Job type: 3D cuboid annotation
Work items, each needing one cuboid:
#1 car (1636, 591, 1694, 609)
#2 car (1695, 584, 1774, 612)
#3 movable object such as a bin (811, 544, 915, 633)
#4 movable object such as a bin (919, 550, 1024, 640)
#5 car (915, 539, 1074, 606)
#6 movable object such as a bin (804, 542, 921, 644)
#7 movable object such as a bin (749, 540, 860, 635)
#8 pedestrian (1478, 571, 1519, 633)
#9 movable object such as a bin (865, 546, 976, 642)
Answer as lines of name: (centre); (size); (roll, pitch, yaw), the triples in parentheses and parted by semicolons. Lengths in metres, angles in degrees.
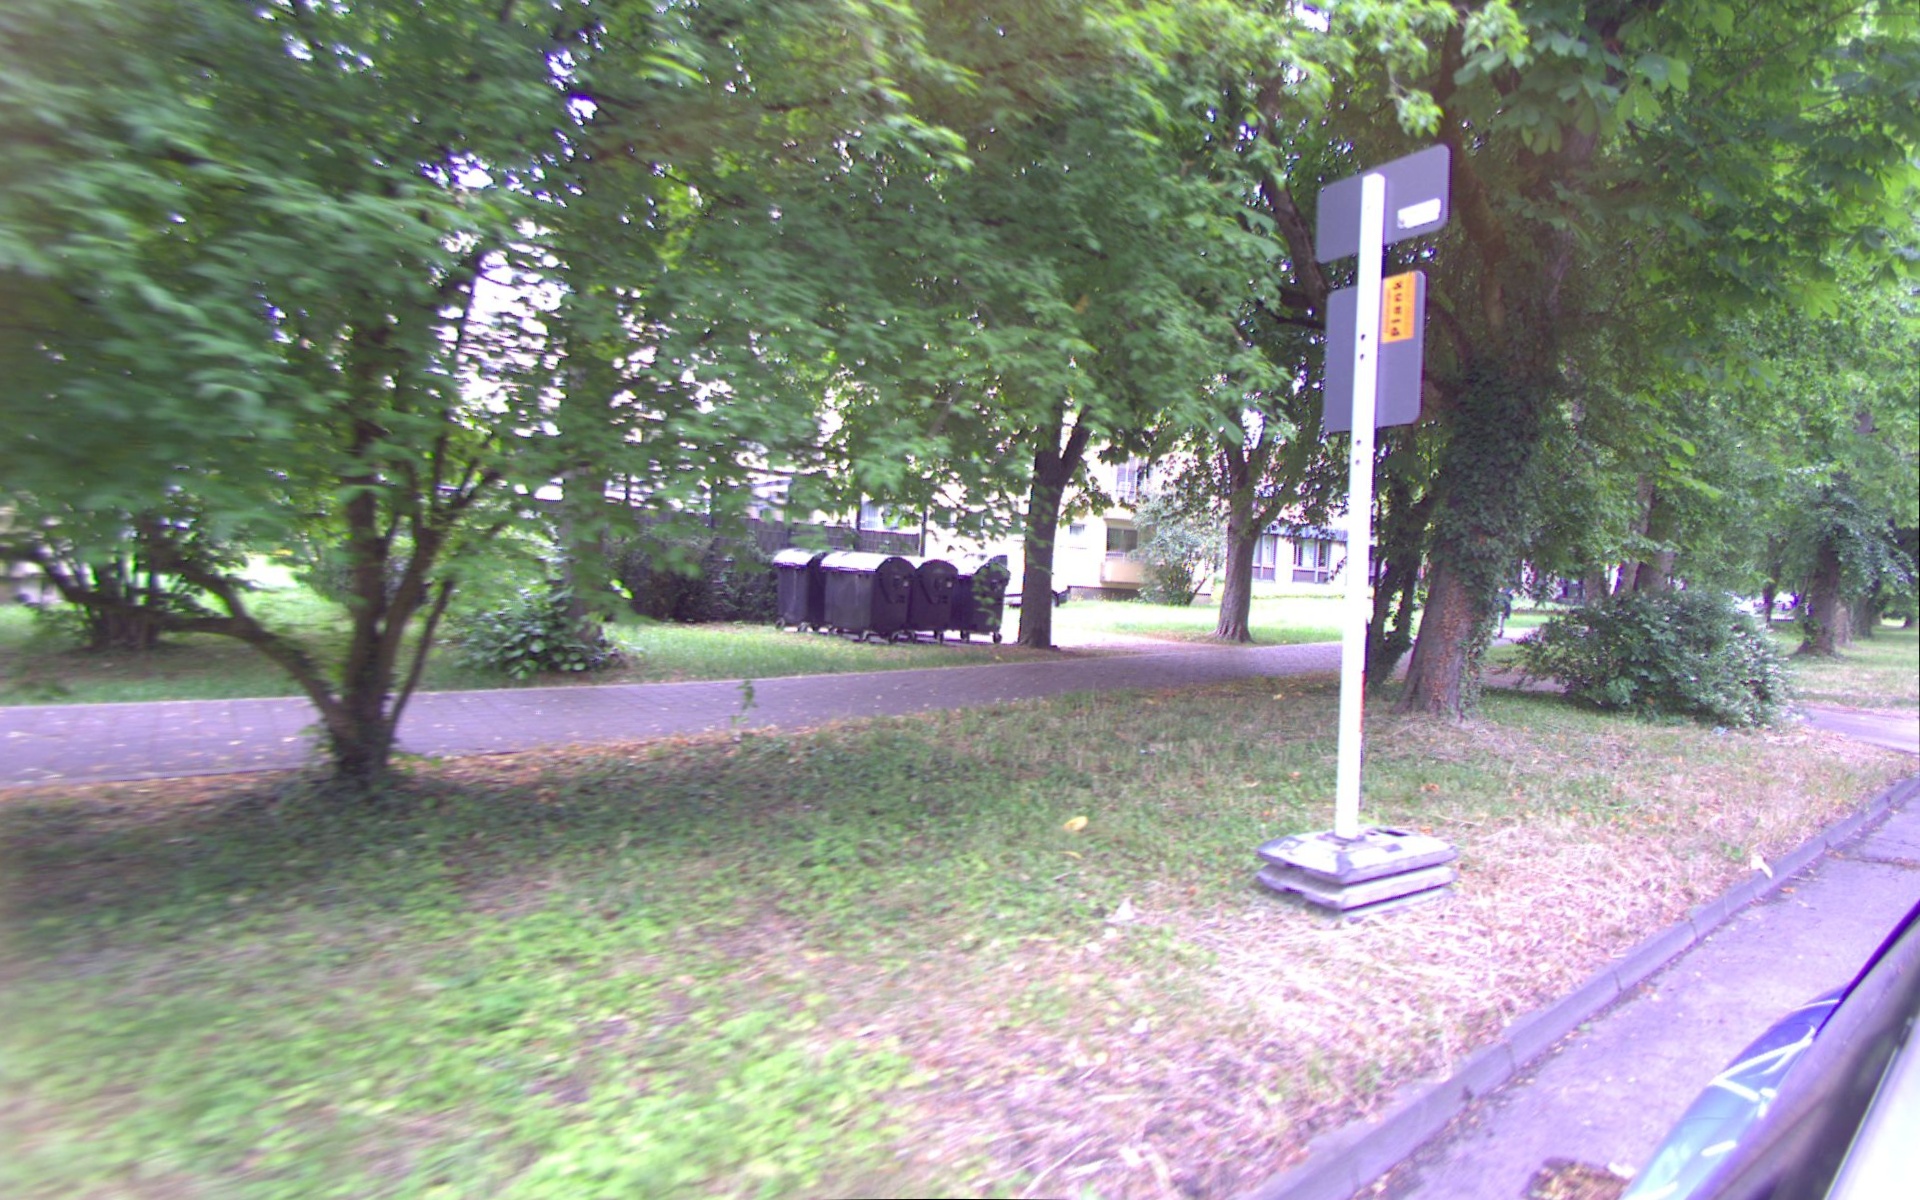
car: (65.315, -0.026, 93.789); (3.929, 1.529, 1.798); (2, 1, 4)
car: (71.274, -0.160, 93.236); (5.242, 2.328, 2.285); (2, 1, 11)
movable object such as a bin: (-1.766, -0.217, 18.423); (1.327, 1.519, 1.294); (4, 2, 43)
movable object such as a bin: (0.208, -0.111, 18.320); (1.327, 1.519, 1.294); (4, 2, 43)
car: (1.181, -0.879, 33.087); (4.873, 1.865, 2.093); (2, 2, -36)
movable object such as a bin: (-1.575, -0.132, 16.356); (1.327, 1.519, 1.294); (4, 2, 43)
movable object such as a bin: (-2.672, -0.224, 17.379); (1.327, 1.519, 1.294); (4, 2, 43)
pedestrian: (15.464, 0.049, 29.060); (0.768, 1.707, 0.801); (4, 2, 45)
movable object such as a bin: (-0.683, -0.115, 17.341); (1.327, 1.519, 1.294); (4, 2, 43)
